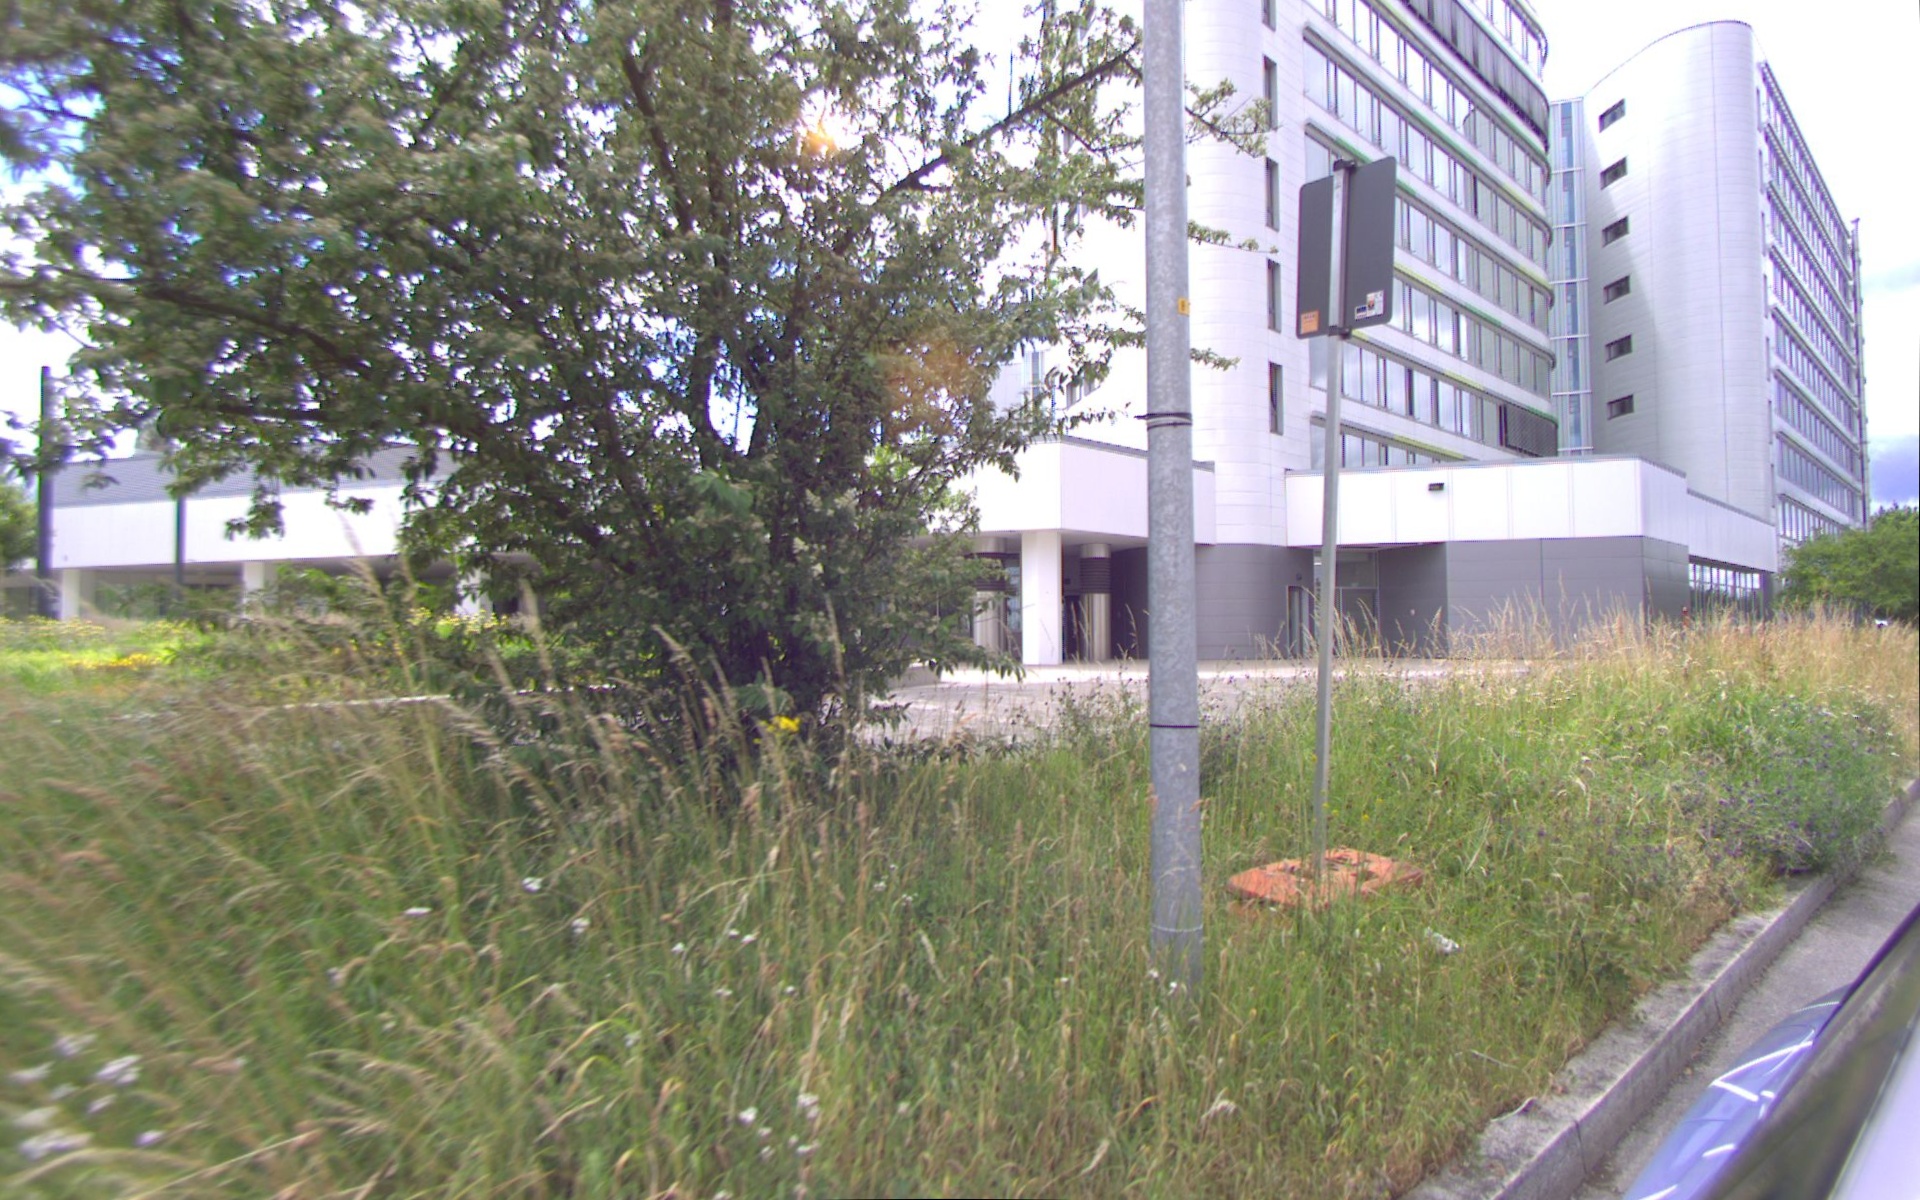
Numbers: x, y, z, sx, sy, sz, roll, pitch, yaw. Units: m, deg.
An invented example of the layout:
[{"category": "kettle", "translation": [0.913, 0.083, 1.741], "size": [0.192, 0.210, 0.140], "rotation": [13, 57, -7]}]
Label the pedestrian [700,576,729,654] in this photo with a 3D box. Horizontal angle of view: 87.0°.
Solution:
[{"category": "pedestrian", "translation": [-6.502, 0.399, 26.821], "size": [0.596, 2.040, 0.695], "rotation": [-1, -3, 0]}]
